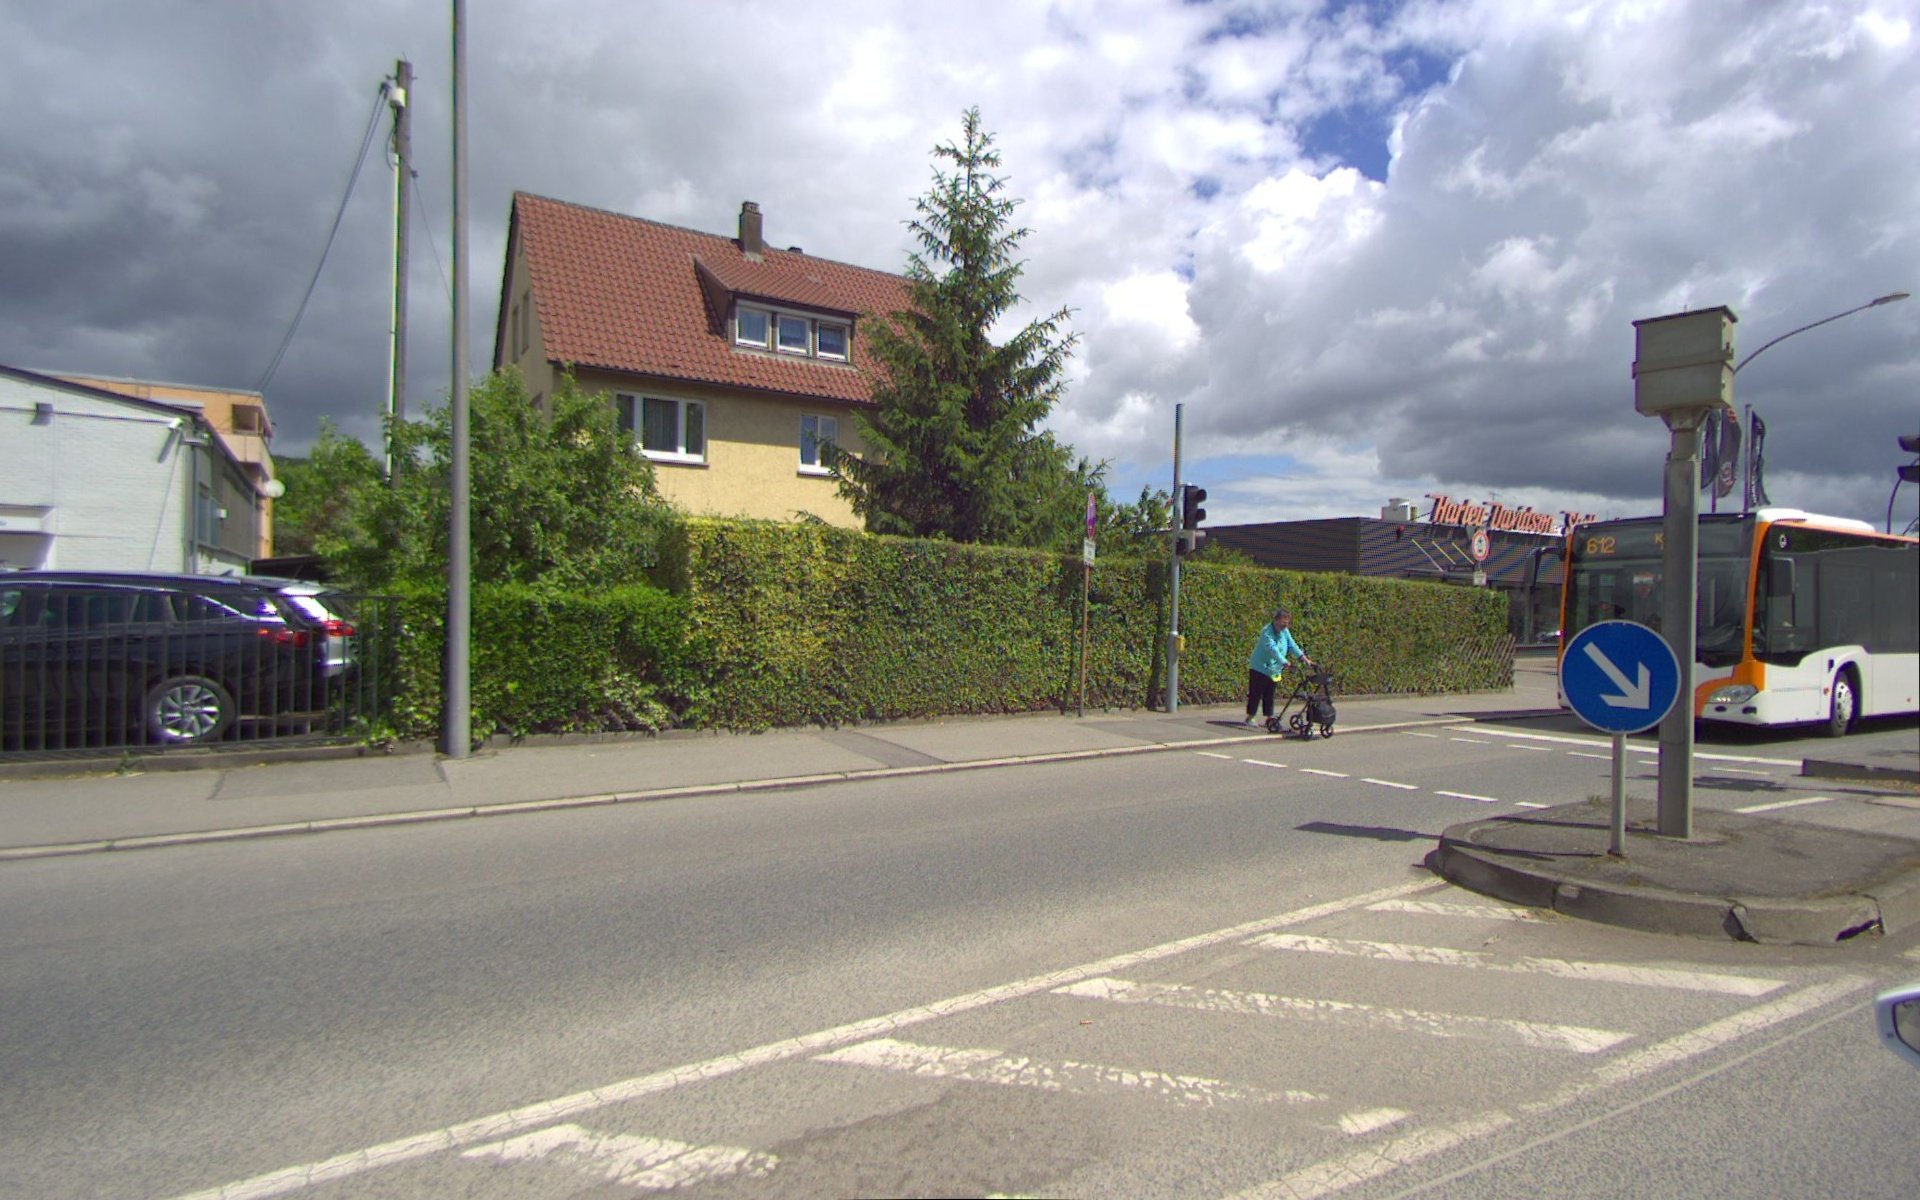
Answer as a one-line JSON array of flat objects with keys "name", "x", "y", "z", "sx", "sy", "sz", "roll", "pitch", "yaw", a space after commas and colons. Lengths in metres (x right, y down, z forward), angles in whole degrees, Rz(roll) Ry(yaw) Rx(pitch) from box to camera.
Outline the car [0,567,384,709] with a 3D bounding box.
[{"name": "car", "x": -10.014, "y": 0.482, "z": 13.377, "sx": 3.959, "sy": 1.639, "sz": 1.765, "roll": 1, "pitch": -1, "yaw": -34}]

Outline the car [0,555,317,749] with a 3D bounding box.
[{"name": "car", "x": -8.166, "y": 0.407, "z": 8.790, "sx": 4.224, "sy": 1.527, "sz": 2.140, "roll": 1, "pitch": -1, "yaw": -35}]

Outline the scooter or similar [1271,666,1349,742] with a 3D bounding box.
[{"name": "scooter or similar", "x": 4.289, "y": 1.260, "z": 12.315, "sx": 0.652, "sy": 0.843, "sz": 0.608, "roll": 1, "pitch": 2, "yaw": -31}]

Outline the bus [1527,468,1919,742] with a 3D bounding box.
[{"name": "bus", "x": 14.053, "y": 0.231, "z": 16.409, "sx": 11.982, "sy": 3.309, "sz": 2.764, "roll": 2, "pitch": -1, "yaw": -31}]

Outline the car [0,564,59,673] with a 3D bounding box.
[{"name": "car", "x": -16.081, "y": 0.241, "z": 14.809, "sx": 3.963, "sy": 1.639, "sz": 1.763, "roll": 1, "pitch": -1, "yaw": -37}]

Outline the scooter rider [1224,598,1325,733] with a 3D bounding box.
[{"name": "scooter rider", "x": 3.989, "y": 0.809, "z": 12.764, "sx": 0.787, "sy": 1.611, "sz": 0.873, "roll": 1, "pitch": 2, "yaw": -31}]

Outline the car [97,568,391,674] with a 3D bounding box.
[{"name": "car", "x": -12.267, "y": 0.372, "z": 17.436, "sx": 3.963, "sy": 1.639, "sz": 1.763, "roll": 1, "pitch": -1, "yaw": -37}]

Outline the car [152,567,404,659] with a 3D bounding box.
[{"name": "car", "x": -13.411, "y": 0.275, "z": 19.912, "sx": 3.963, "sy": 1.639, "sz": 1.763, "roll": 1, "pitch": -1, "yaw": -37}]

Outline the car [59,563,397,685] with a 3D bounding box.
[{"name": "car", "x": -10.964, "y": 0.365, "z": 15.388, "sx": 3.959, "sy": 1.639, "sz": 1.765, "roll": 1, "pitch": -1, "yaw": -34}]

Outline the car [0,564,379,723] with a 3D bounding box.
[{"name": "car", "x": -8.954, "y": 0.431, "z": 11.114, "sx": 4.224, "sy": 1.527, "sz": 2.140, "roll": 1, "pitch": 0, "yaw": -35}]

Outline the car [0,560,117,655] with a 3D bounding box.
[{"name": "car", "x": -17.454, "y": 0.115, "z": 17.607, "sx": 3.963, "sy": 1.639, "sz": 1.763, "roll": 1, "pitch": -1, "yaw": -37}]

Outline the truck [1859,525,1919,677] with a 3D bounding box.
[{"name": "truck", "x": 30.108, "y": 0.139, "z": 30.507, "sx": 9.068, "sy": 4.186, "sz": 2.410, "roll": 2, "pitch": 2, "yaw": -38}]
